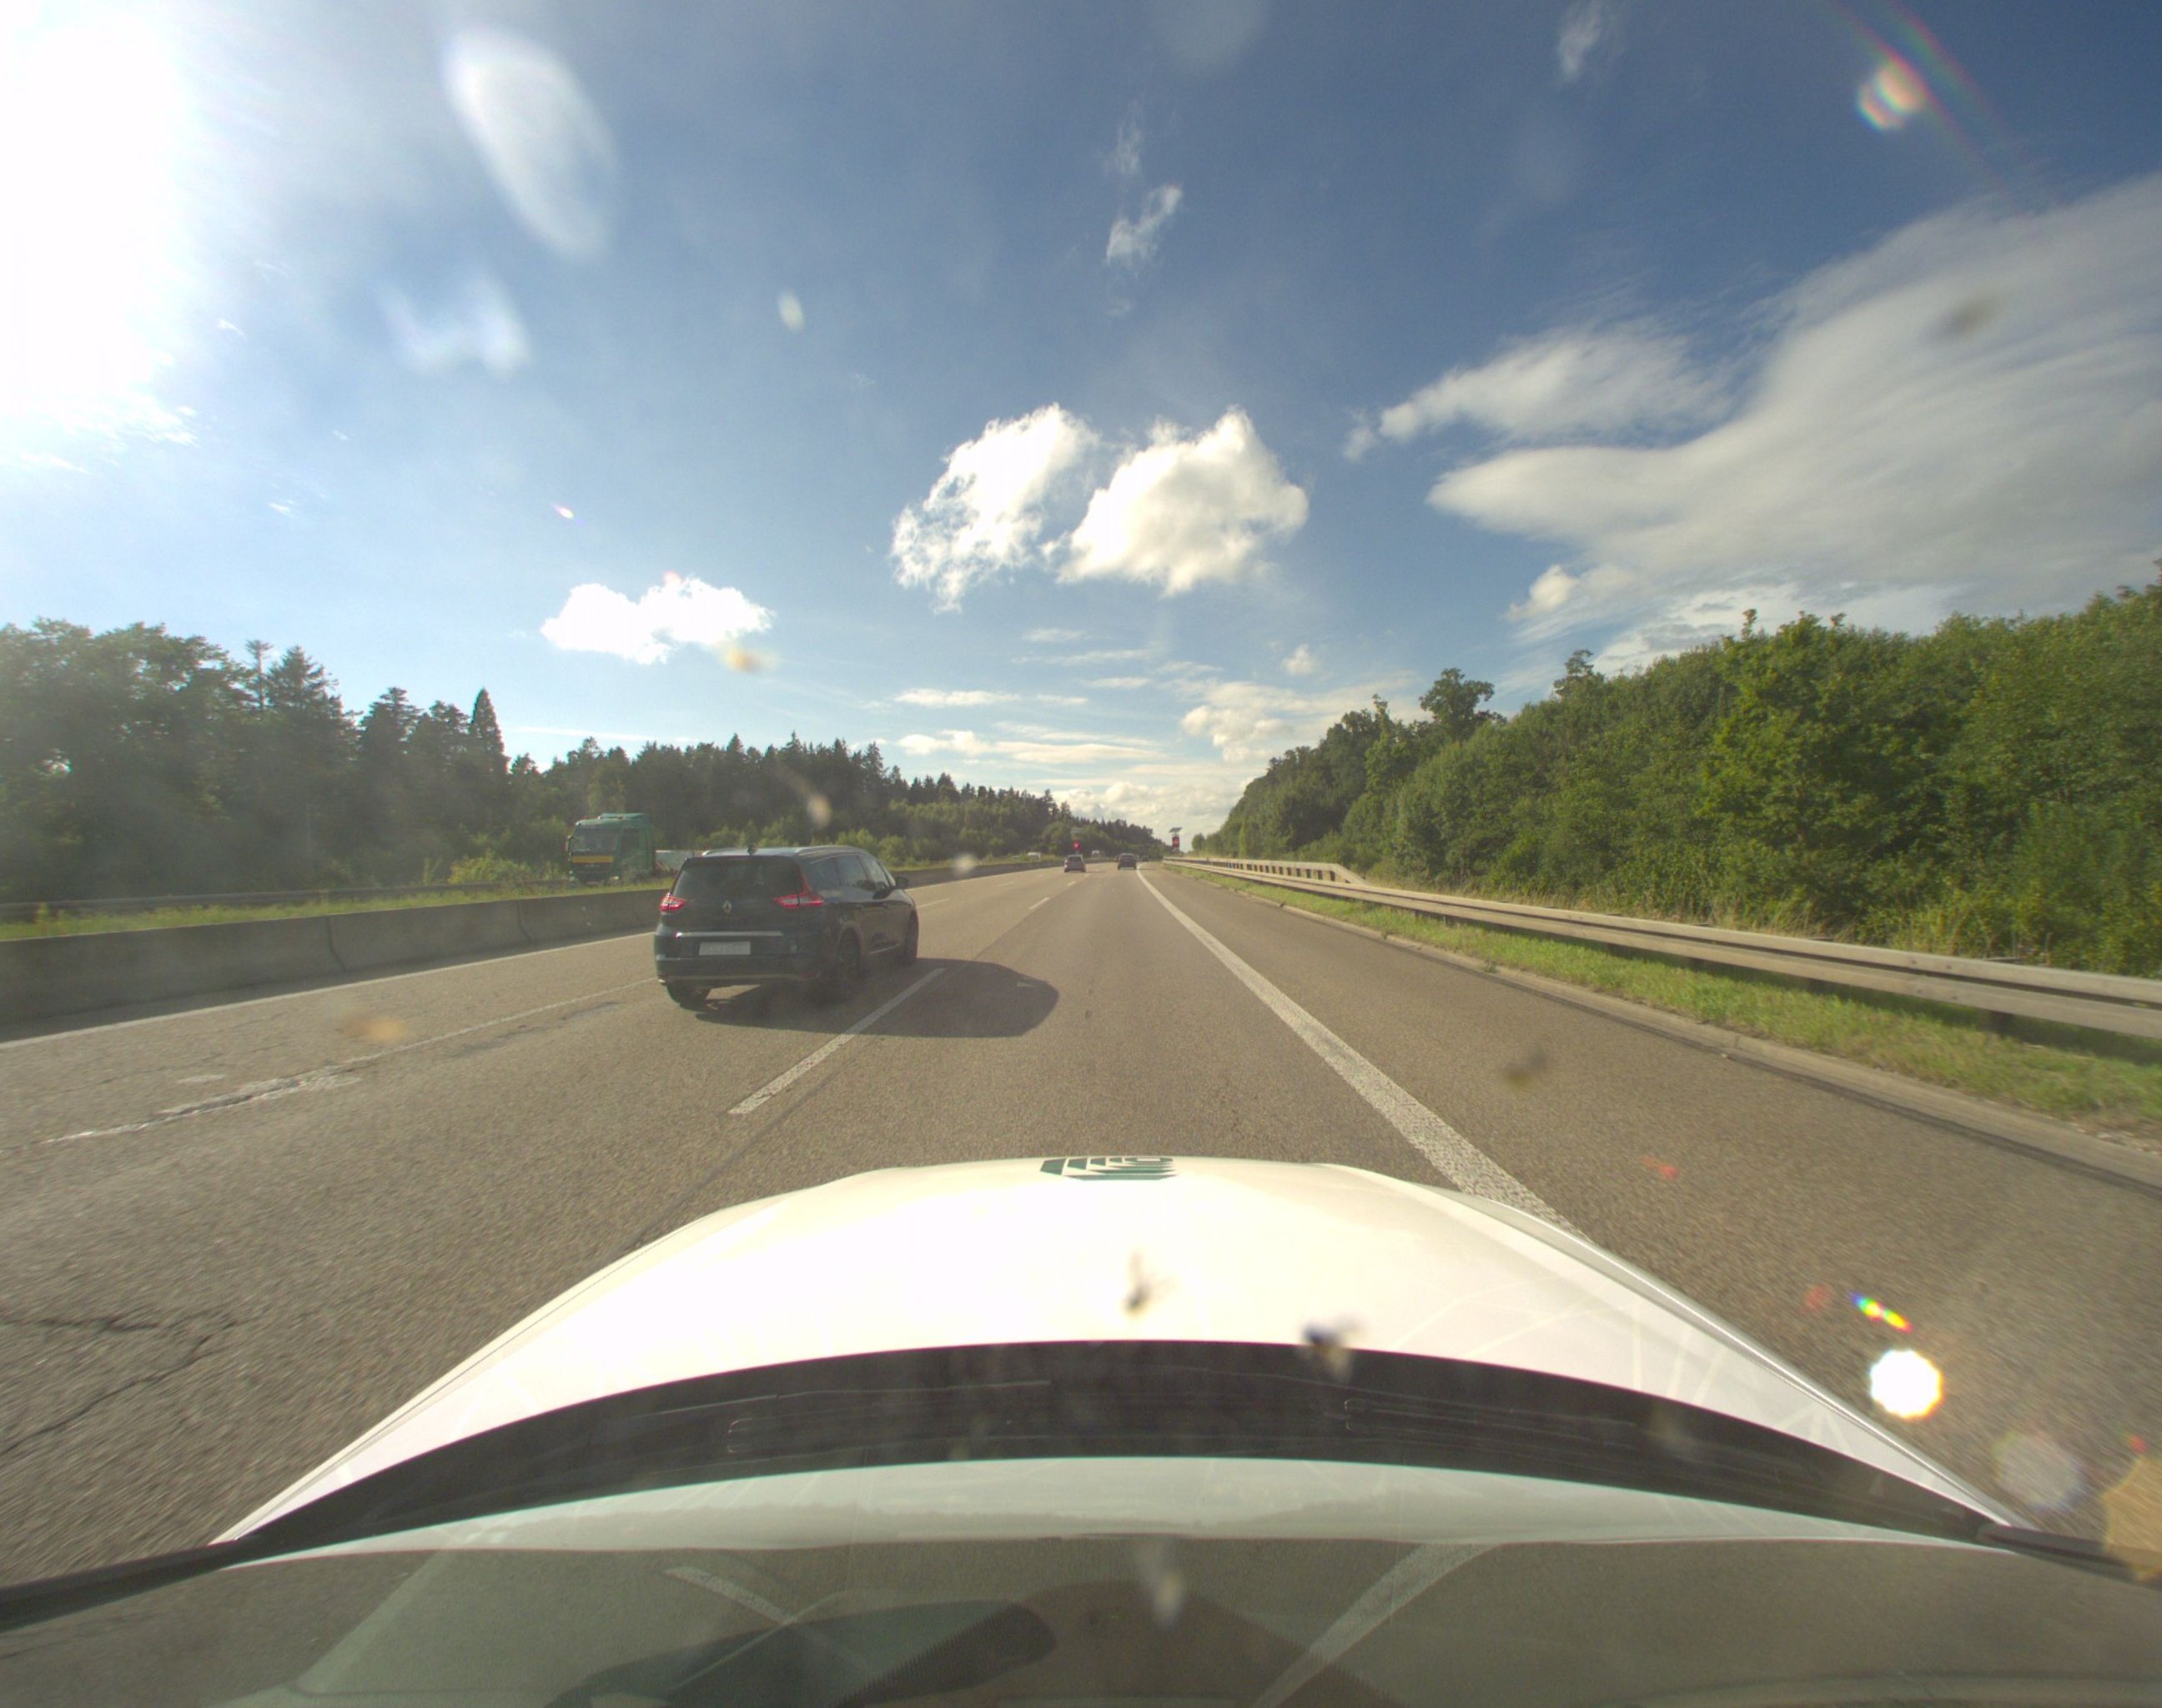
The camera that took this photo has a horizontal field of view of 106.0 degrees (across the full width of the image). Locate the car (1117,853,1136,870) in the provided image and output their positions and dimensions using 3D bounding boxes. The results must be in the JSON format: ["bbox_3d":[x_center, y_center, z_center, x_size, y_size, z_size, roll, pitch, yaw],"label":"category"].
[{"bbox_3d":[4.744,0.780,84.628,1.866,1.675,3.892,-1,0,2],"label":"car"}]

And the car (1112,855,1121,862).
[{"bbox_3d":[8.378,1.033,192.752,1.864,1.497,3.887,-1,0,6],"label":"car"}]

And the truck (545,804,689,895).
[{"bbox_3d":[-22.057,-0.184,39.136,3.362,4.009,5.867,-1,0,2],"label":"truck"}]

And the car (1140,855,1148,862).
[{"bbox_3d":[15.614,1.143,200.946,1.803,1.706,4.006,-1,0,5],"label":"car"}]

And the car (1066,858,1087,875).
[{"bbox_3d":[-0.373,1.115,73.546,1.867,1.497,3.880,-1,0,1],"label":"car"}]

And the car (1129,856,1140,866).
[{"bbox_3d":[11.162,1.367,168.931,1.987,2.013,4.000,0,0,0],"label":"car"}]

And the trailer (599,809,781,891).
[{"bbox_3d":[-21.727,-0.204,46.820,3.362,4.009,13.648,-1,0,2],"label":"trailer"}]

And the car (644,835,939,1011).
[{"bbox_3d":[-3.259,0.676,10.305,1.986,1.707,4.530,-1,0,1],"label":"car"}]
